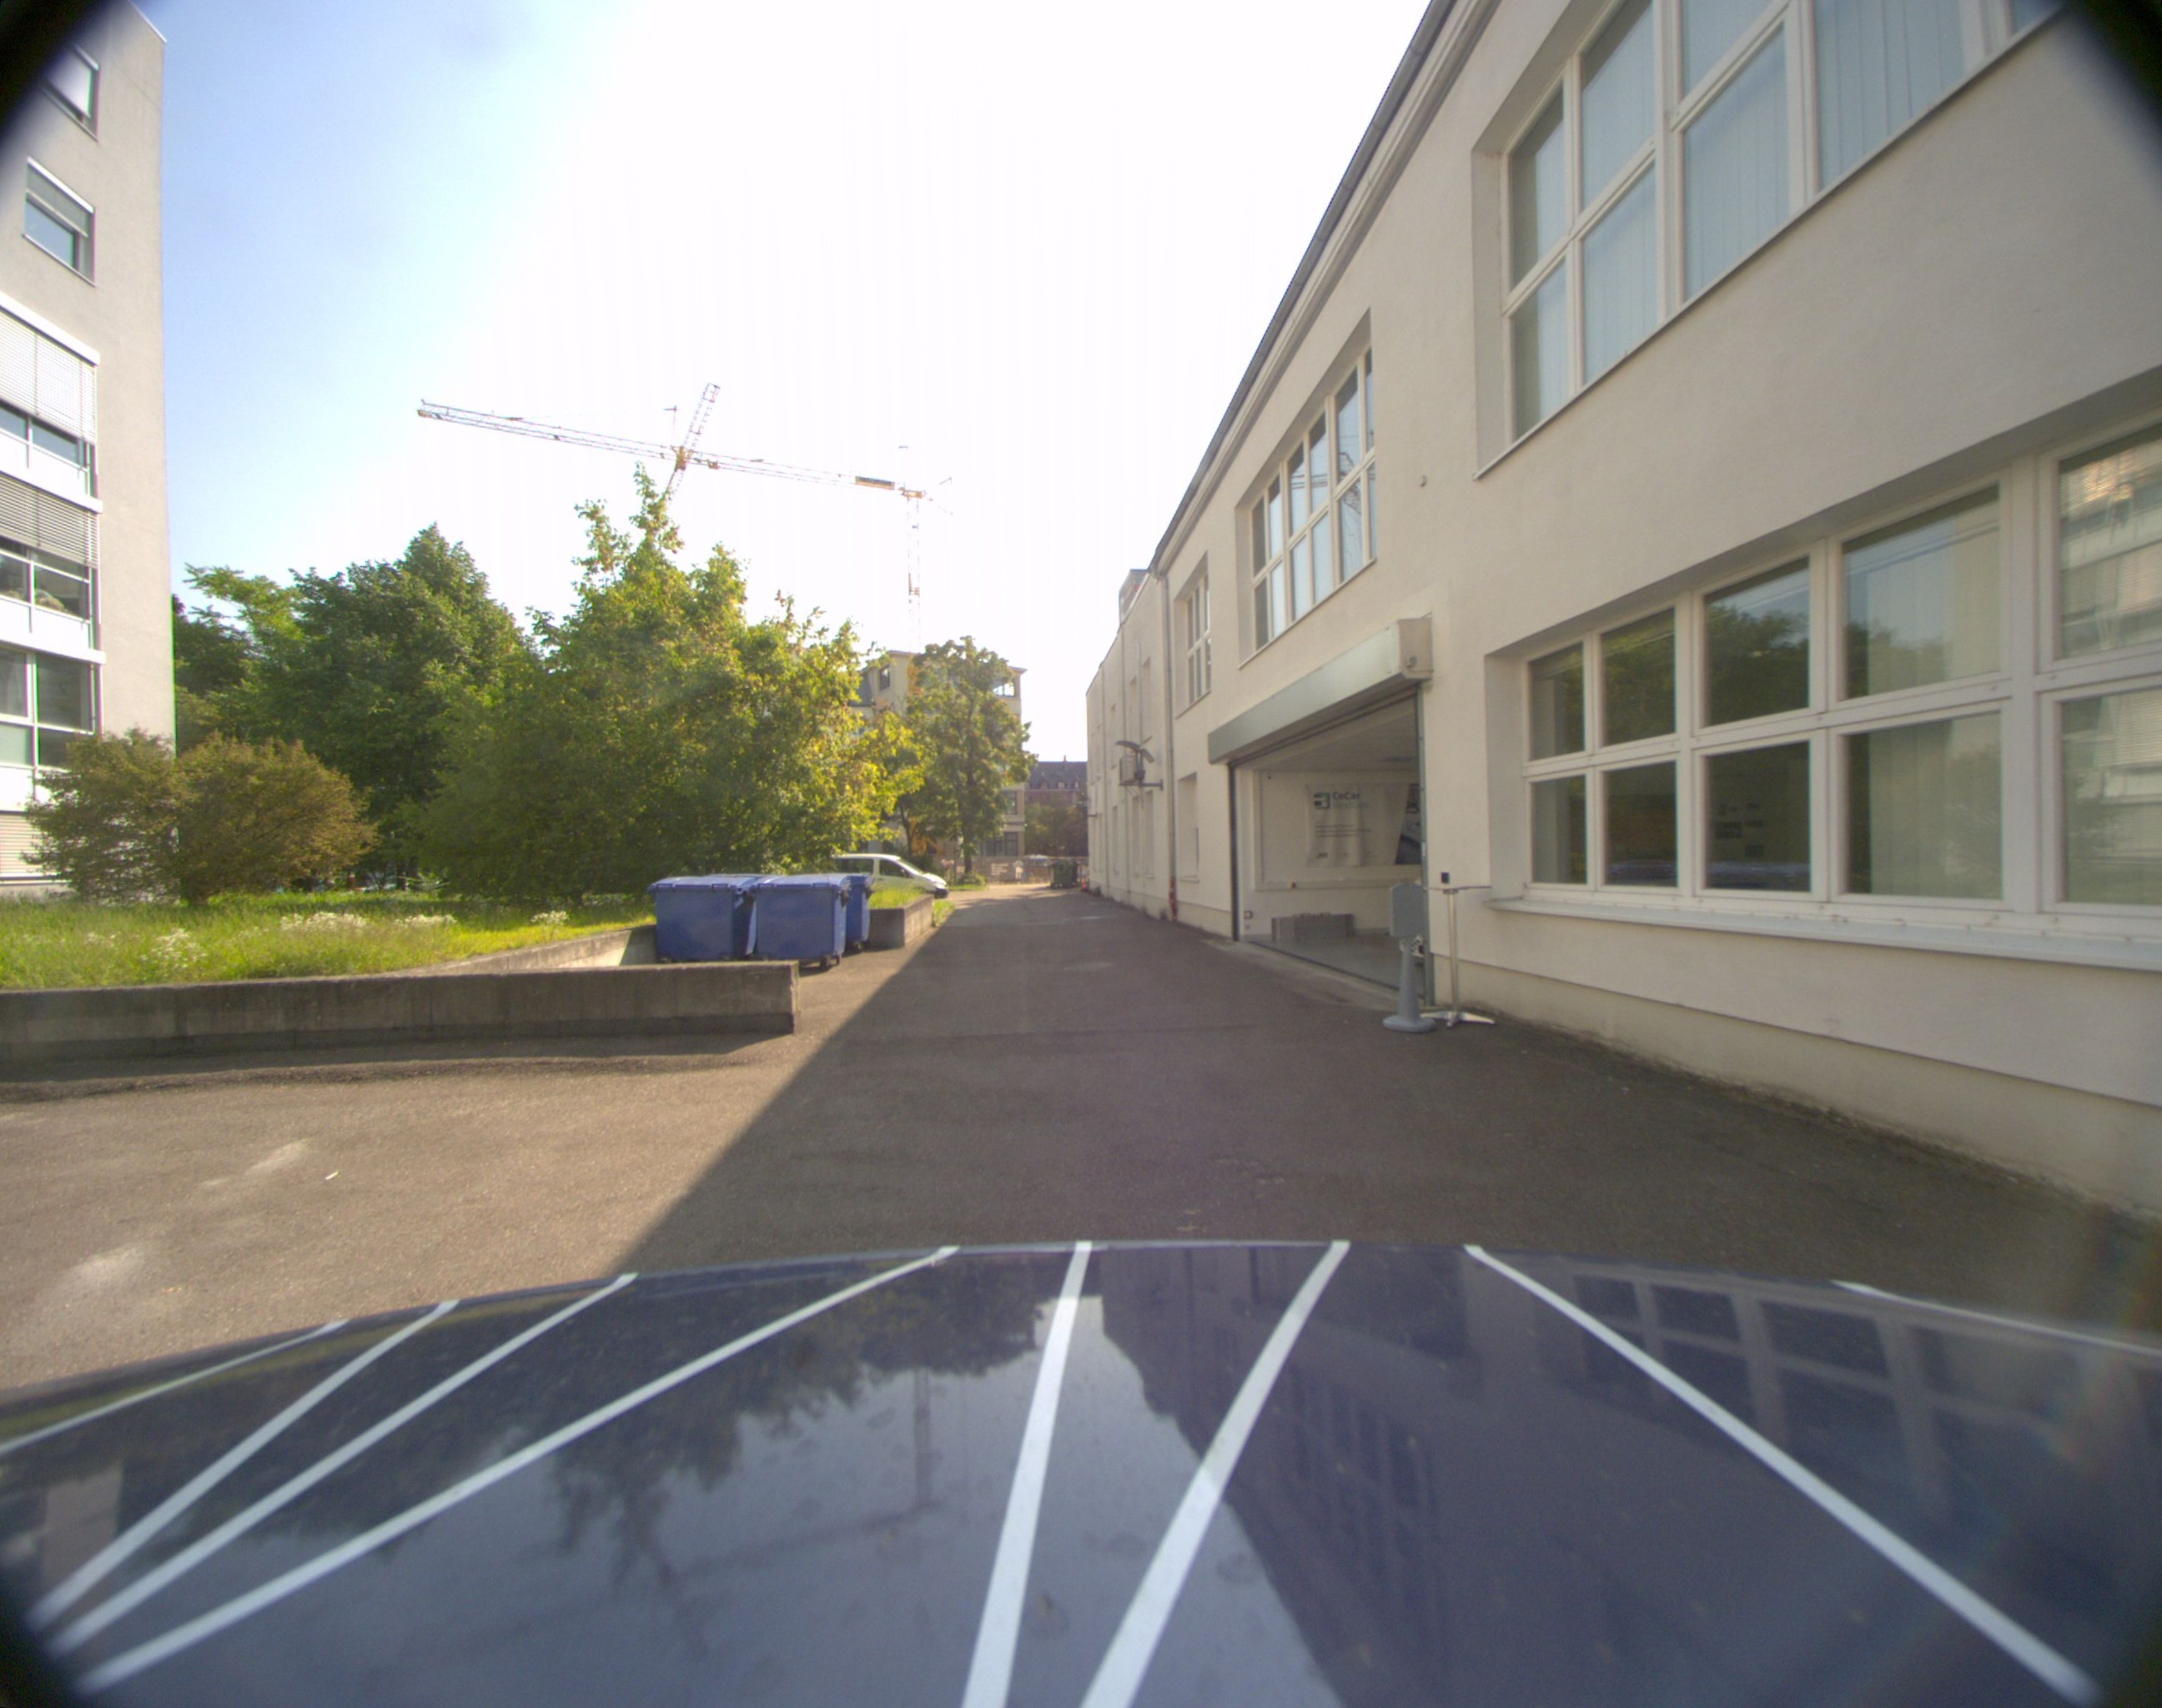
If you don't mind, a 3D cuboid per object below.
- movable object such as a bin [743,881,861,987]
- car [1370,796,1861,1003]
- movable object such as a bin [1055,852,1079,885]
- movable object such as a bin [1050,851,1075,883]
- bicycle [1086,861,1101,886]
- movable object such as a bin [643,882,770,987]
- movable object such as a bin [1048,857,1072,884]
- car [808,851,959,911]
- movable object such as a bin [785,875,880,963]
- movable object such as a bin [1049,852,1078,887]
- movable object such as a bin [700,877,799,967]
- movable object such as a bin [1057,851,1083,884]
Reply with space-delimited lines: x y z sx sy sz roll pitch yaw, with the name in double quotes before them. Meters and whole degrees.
"movable object such as a bin" -3.974 1.109 10.957 1.304 1.333 1.194 -2 1 -7
"car" 6.380 0.463 9.419 4.761 2.081 2.054 -2 1 -6
"movable object such as a bin" -0.756 0.741 39.786 1.184 1.696 1.394 -2 1 -2
"movable object such as a bin" -1.030 0.719 42.577 1.184 1.696 1.376 -2 1 -10
"bicycle" 0.645 1.018 39.660 0.477 1.206 2.007 -2 1 -7
"movable object such as a bin" -5.303 1.110 10.864 1.238 1.333 1.116 -2 1 -2
"movable object such as a bin" -1.223 0.929 43.965 1.037 1.489 1.106 -2 1 -17
"car" -7.114 0.933 27.872 4.971 1.910 2.043 -2 1 -4
"movable object such as a bin" -4.116 1.049 12.702 1.313 1.333 1.099 -2 1 -9
"movable object such as a bin" -0.887 0.764 37.964 1.184 1.696 1.376 -2 1 -10
"movable object such as a bin" -5.445 1.087 12.575 1.230 1.333 1.075 -2 1 -10
"movable object such as a bin" -0.620 0.722 41.215 1.184 1.696 1.376 -2 1 -10
